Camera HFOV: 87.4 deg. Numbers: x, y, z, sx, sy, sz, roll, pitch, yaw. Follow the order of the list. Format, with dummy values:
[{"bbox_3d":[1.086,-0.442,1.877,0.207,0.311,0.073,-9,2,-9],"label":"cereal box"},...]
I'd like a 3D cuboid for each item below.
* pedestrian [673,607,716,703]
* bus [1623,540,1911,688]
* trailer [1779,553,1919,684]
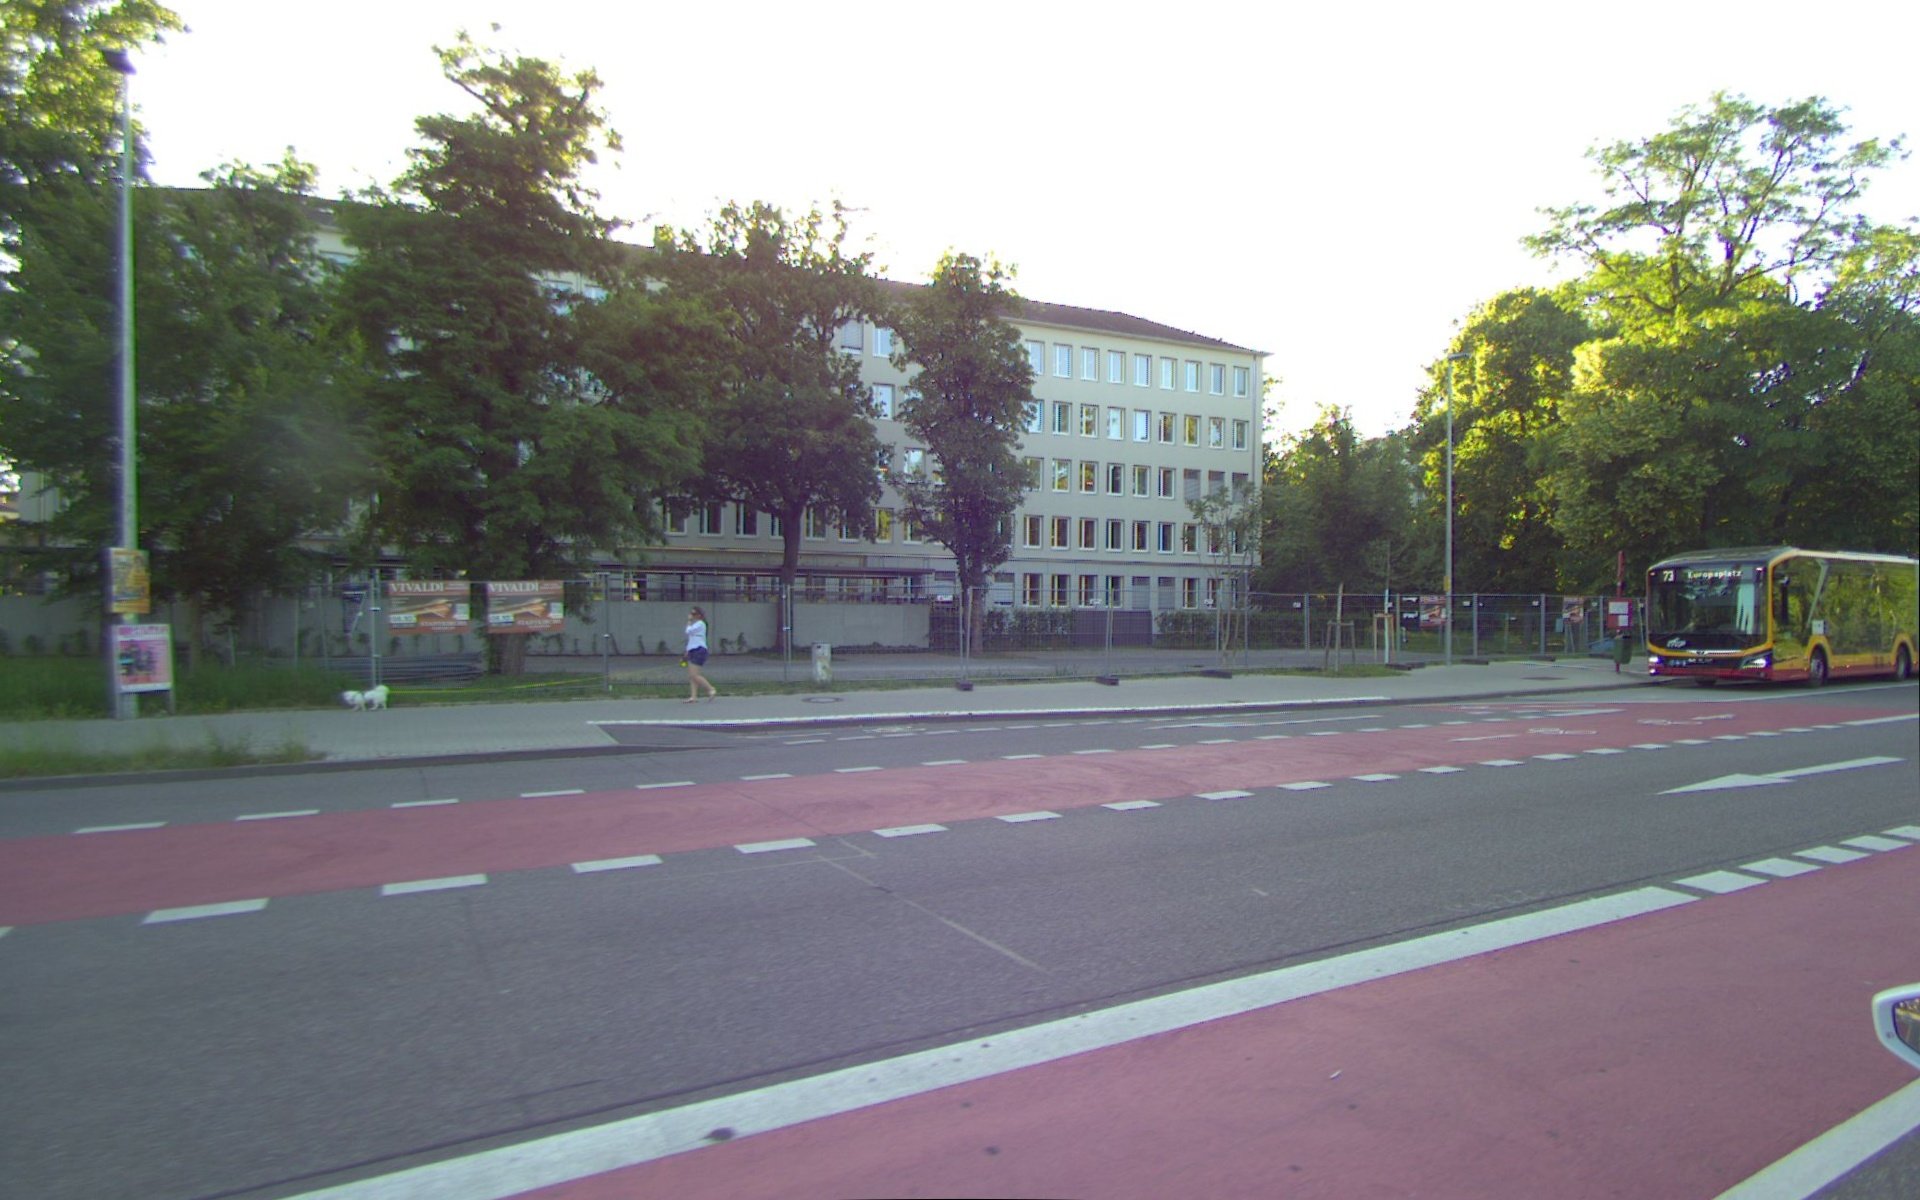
[{"bbox_3d":[-4.398,0.903,16.644,0.566,1.554,0.448,1,-1,-35],"label":"pedestrian"},{"bbox_3d":[20.455,0.379,25.304,8.497,3.239,2.827,1,-1,-30],"label":"bus"},{"bbox_3d":[28.151,0.531,29.710,9.250,3.400,2.841,1,1,-30],"label":"trailer"}]
